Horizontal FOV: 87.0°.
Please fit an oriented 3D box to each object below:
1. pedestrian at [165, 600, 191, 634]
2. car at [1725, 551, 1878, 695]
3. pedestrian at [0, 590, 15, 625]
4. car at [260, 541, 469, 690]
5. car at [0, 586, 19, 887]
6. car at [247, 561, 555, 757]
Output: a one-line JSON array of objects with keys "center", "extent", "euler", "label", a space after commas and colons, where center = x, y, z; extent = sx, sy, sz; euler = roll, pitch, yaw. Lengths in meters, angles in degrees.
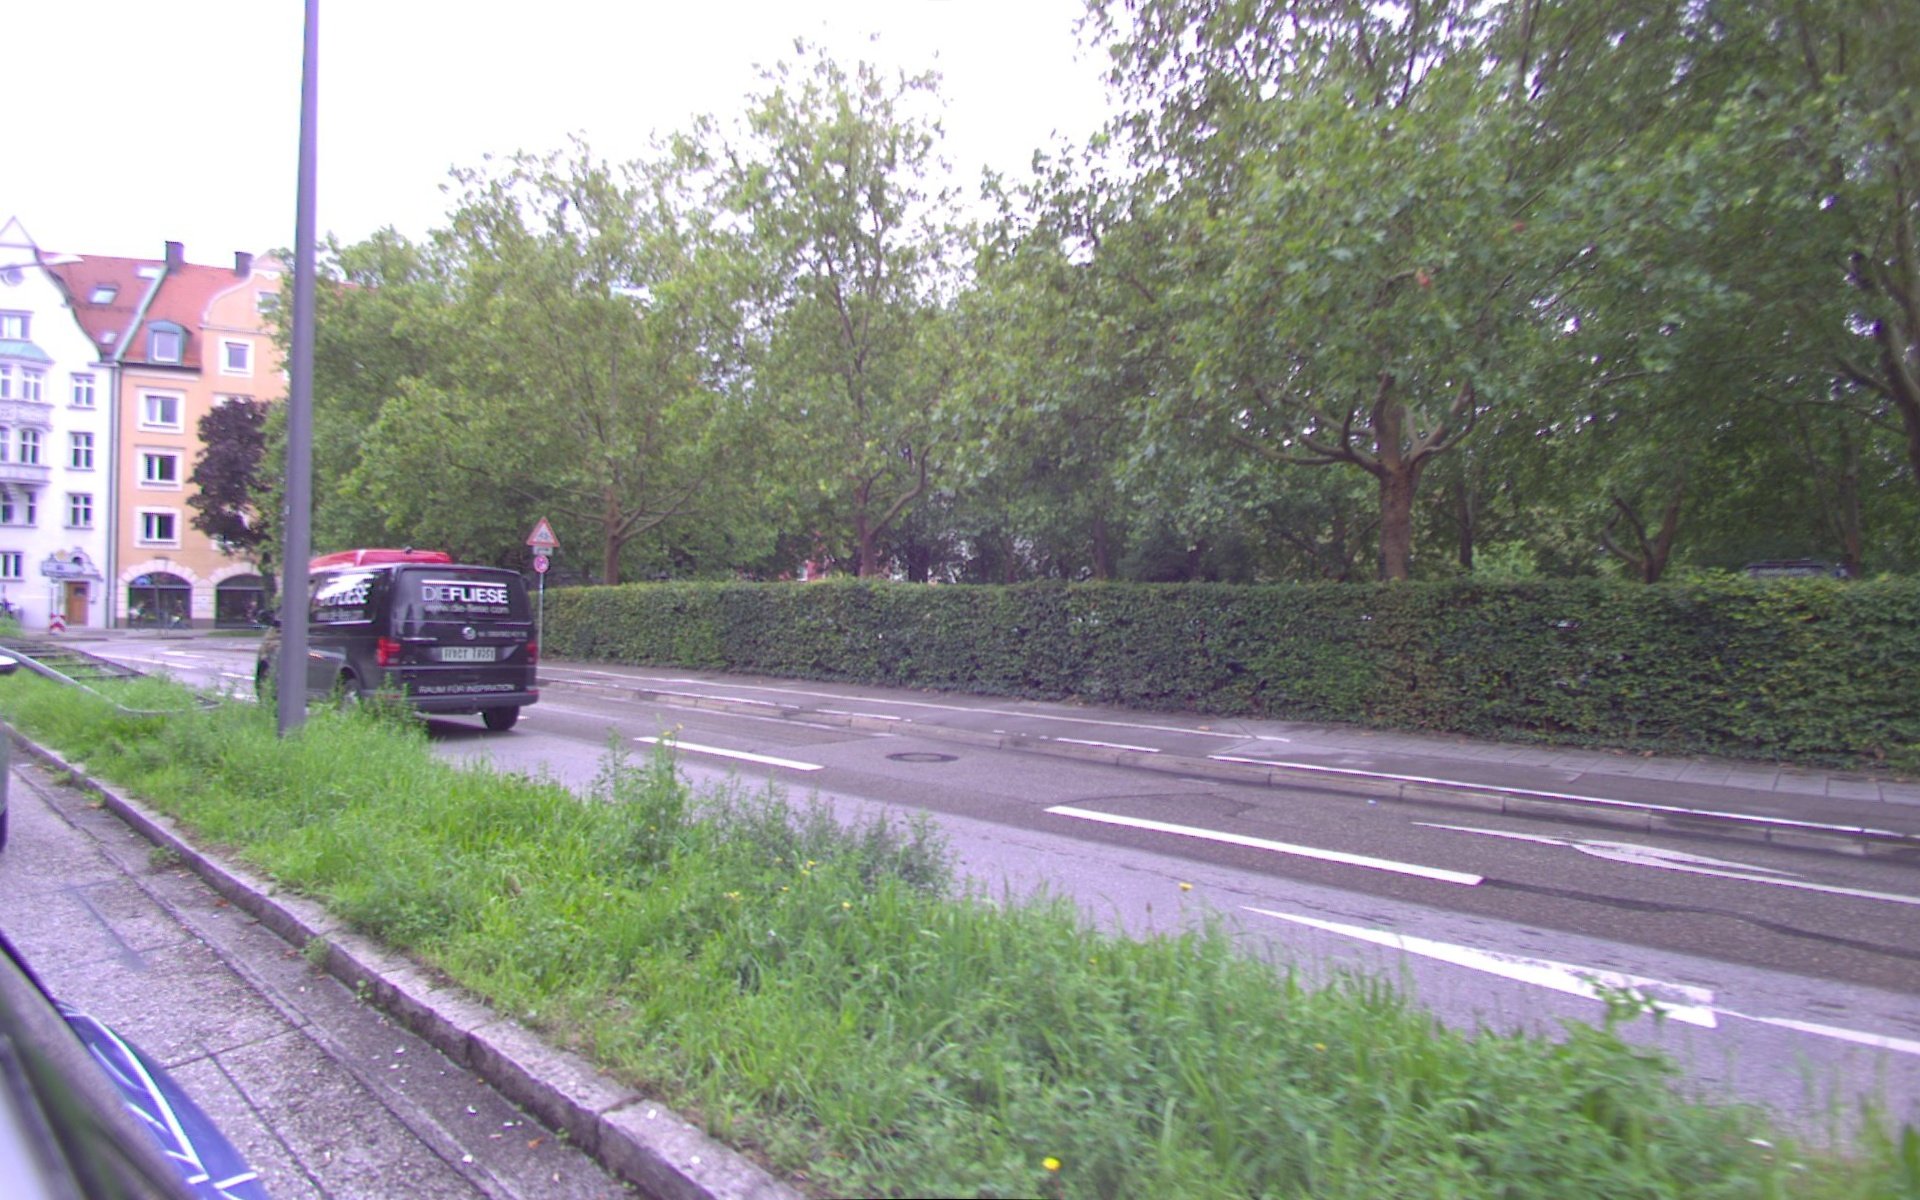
[{"center": [-46.823, 0.995, 60.616], "extent": [0.991, 2.029, 0.881], "euler": [0, 0, -17], "label": "pedestrian"}, {"center": [17.358, 0.383, 20.742], "extent": [2.001, 2.554, 5.779], "euler": [0, 1, 44], "label": "car"}, {"center": [-54.572, 0.421, 57.475], "extent": [0.991, 2.029, 0.881], "euler": [0, 0, -17], "label": "pedestrian"}, {"center": [-12.246, 0.393, 20.593], "extent": [6.082, 2.609, 2.080], "euler": [-2, -4, 44], "label": "car"}, {"center": [-6.890, 0.692, 5.844], "extent": [3.884, 1.541, 1.688], "euler": [-1, -2, 41], "label": "car"}, {"center": [-7.107, 0.647, 12.636], "extent": [4.702, 2.006, 1.838], "euler": [-1, -2, 41], "label": "car"}]
